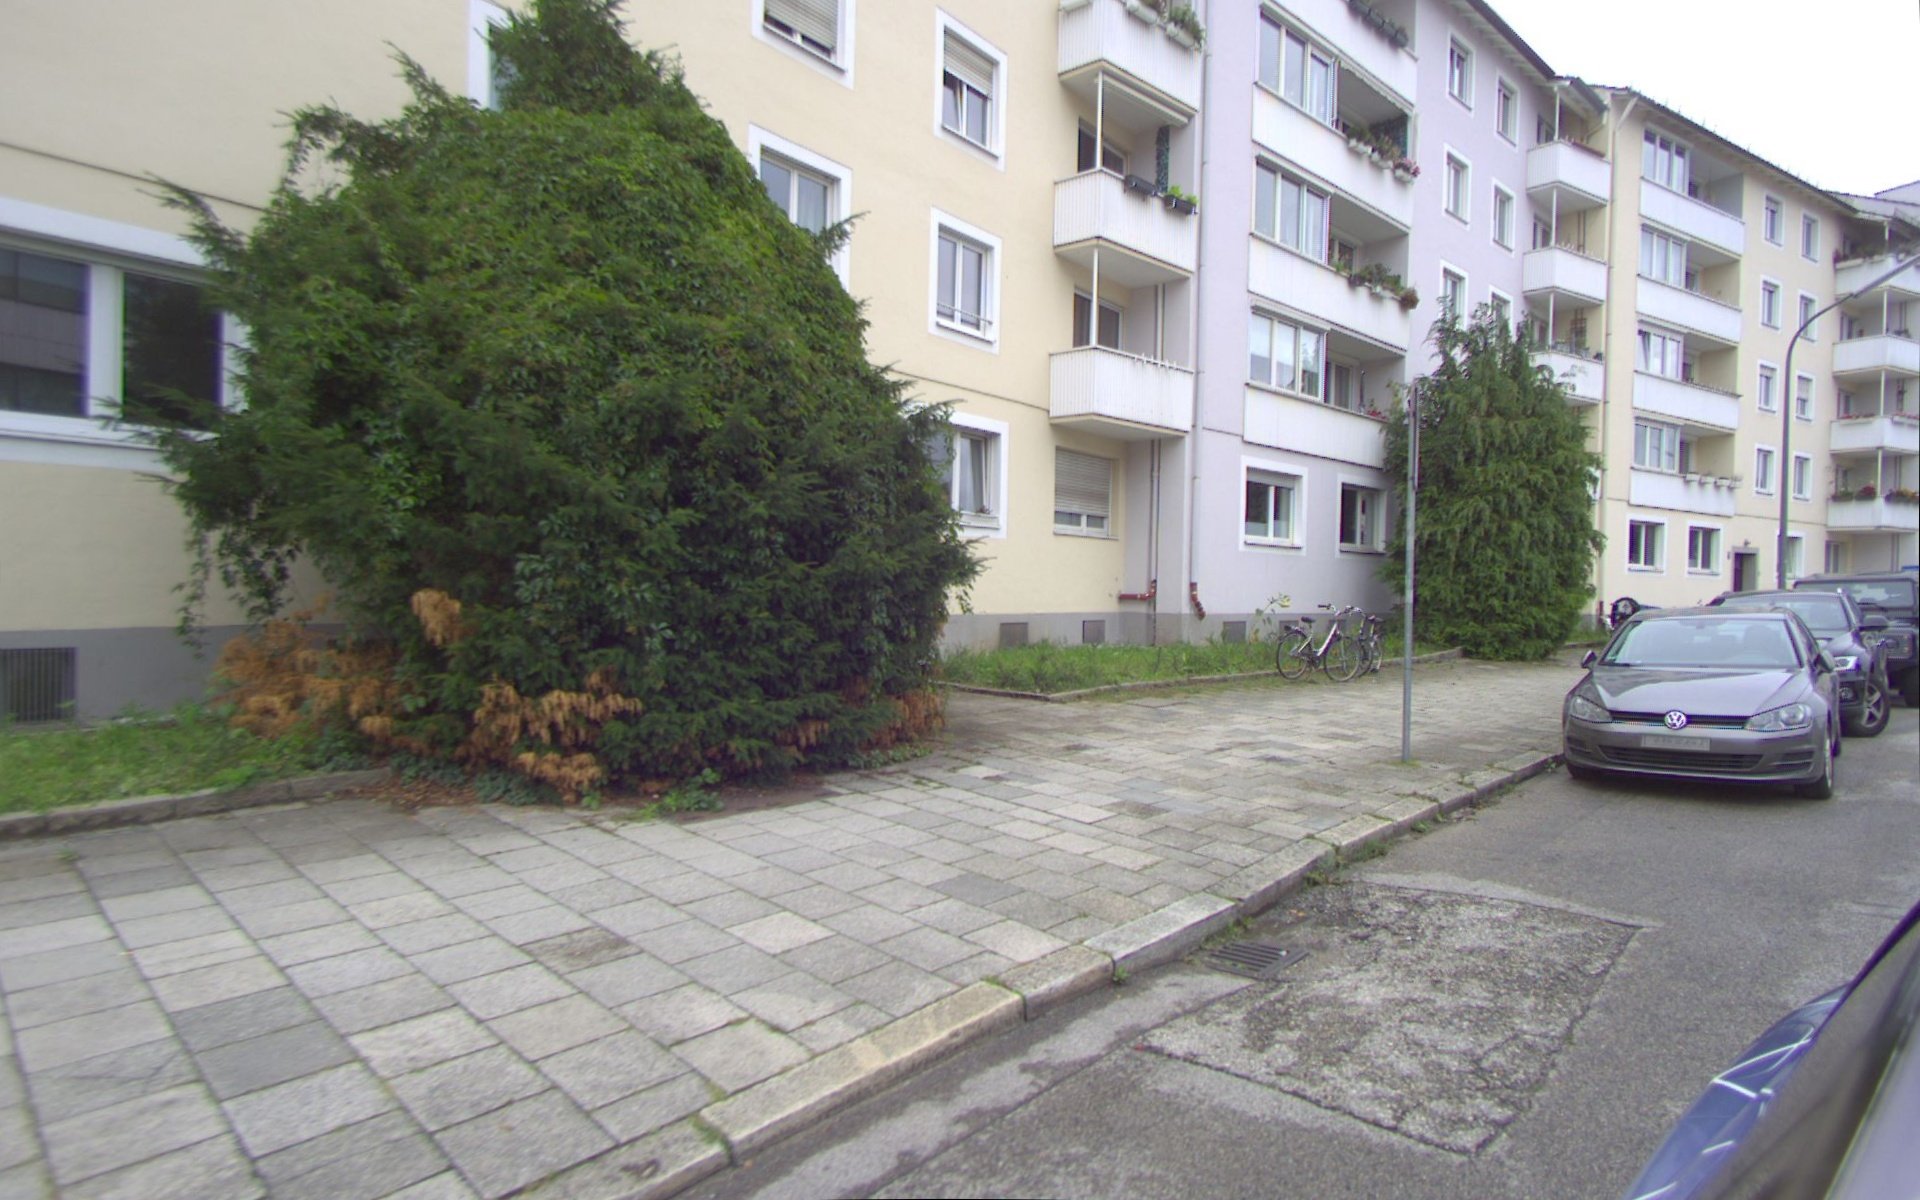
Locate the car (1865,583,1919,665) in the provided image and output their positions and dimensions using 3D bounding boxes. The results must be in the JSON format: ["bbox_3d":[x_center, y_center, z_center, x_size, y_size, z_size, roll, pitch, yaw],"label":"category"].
[{"bbox_3d":[21.614,0.529,22.268,4.532,1.699,2.029,1,-1,-41],"label":"car"}]

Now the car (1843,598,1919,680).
[{"bbox_3d":[17.724,0.673,18.847,3.742,1.366,1.659,-1,0,-45],"label":"car"}]

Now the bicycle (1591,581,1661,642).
[{"bbox_3d":[16.311,0.277,24.771,2.428,1.384,0.744,0,4,-42],"label":"bicycle"}]

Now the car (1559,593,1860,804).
[{"bbox_3d":[6.836,0.671,9.055,1.753,1.414,3.983,-1,1,43],"label":"car"}]

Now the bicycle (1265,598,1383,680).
[{"bbox_3d":[5.346,0.563,14.819,1.905,1.131,0.469,1,1,-30],"label":"bicycle"}]

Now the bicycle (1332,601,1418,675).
[{"bbox_3d":[6.815,0.593,16.563,1.910,1.131,0.468,1,2,-41],"label":"bicycle"}]

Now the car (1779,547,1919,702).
[{"bbox_3d":[14.273,0.369,15.660,4.436,2.108,1.750,1,-1,-41],"label":"car"}]

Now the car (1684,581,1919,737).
[{"bbox_3d":[10.476,0.596,12.373,4.435,1.585,1.661,0,0,-41],"label":"car"}]
